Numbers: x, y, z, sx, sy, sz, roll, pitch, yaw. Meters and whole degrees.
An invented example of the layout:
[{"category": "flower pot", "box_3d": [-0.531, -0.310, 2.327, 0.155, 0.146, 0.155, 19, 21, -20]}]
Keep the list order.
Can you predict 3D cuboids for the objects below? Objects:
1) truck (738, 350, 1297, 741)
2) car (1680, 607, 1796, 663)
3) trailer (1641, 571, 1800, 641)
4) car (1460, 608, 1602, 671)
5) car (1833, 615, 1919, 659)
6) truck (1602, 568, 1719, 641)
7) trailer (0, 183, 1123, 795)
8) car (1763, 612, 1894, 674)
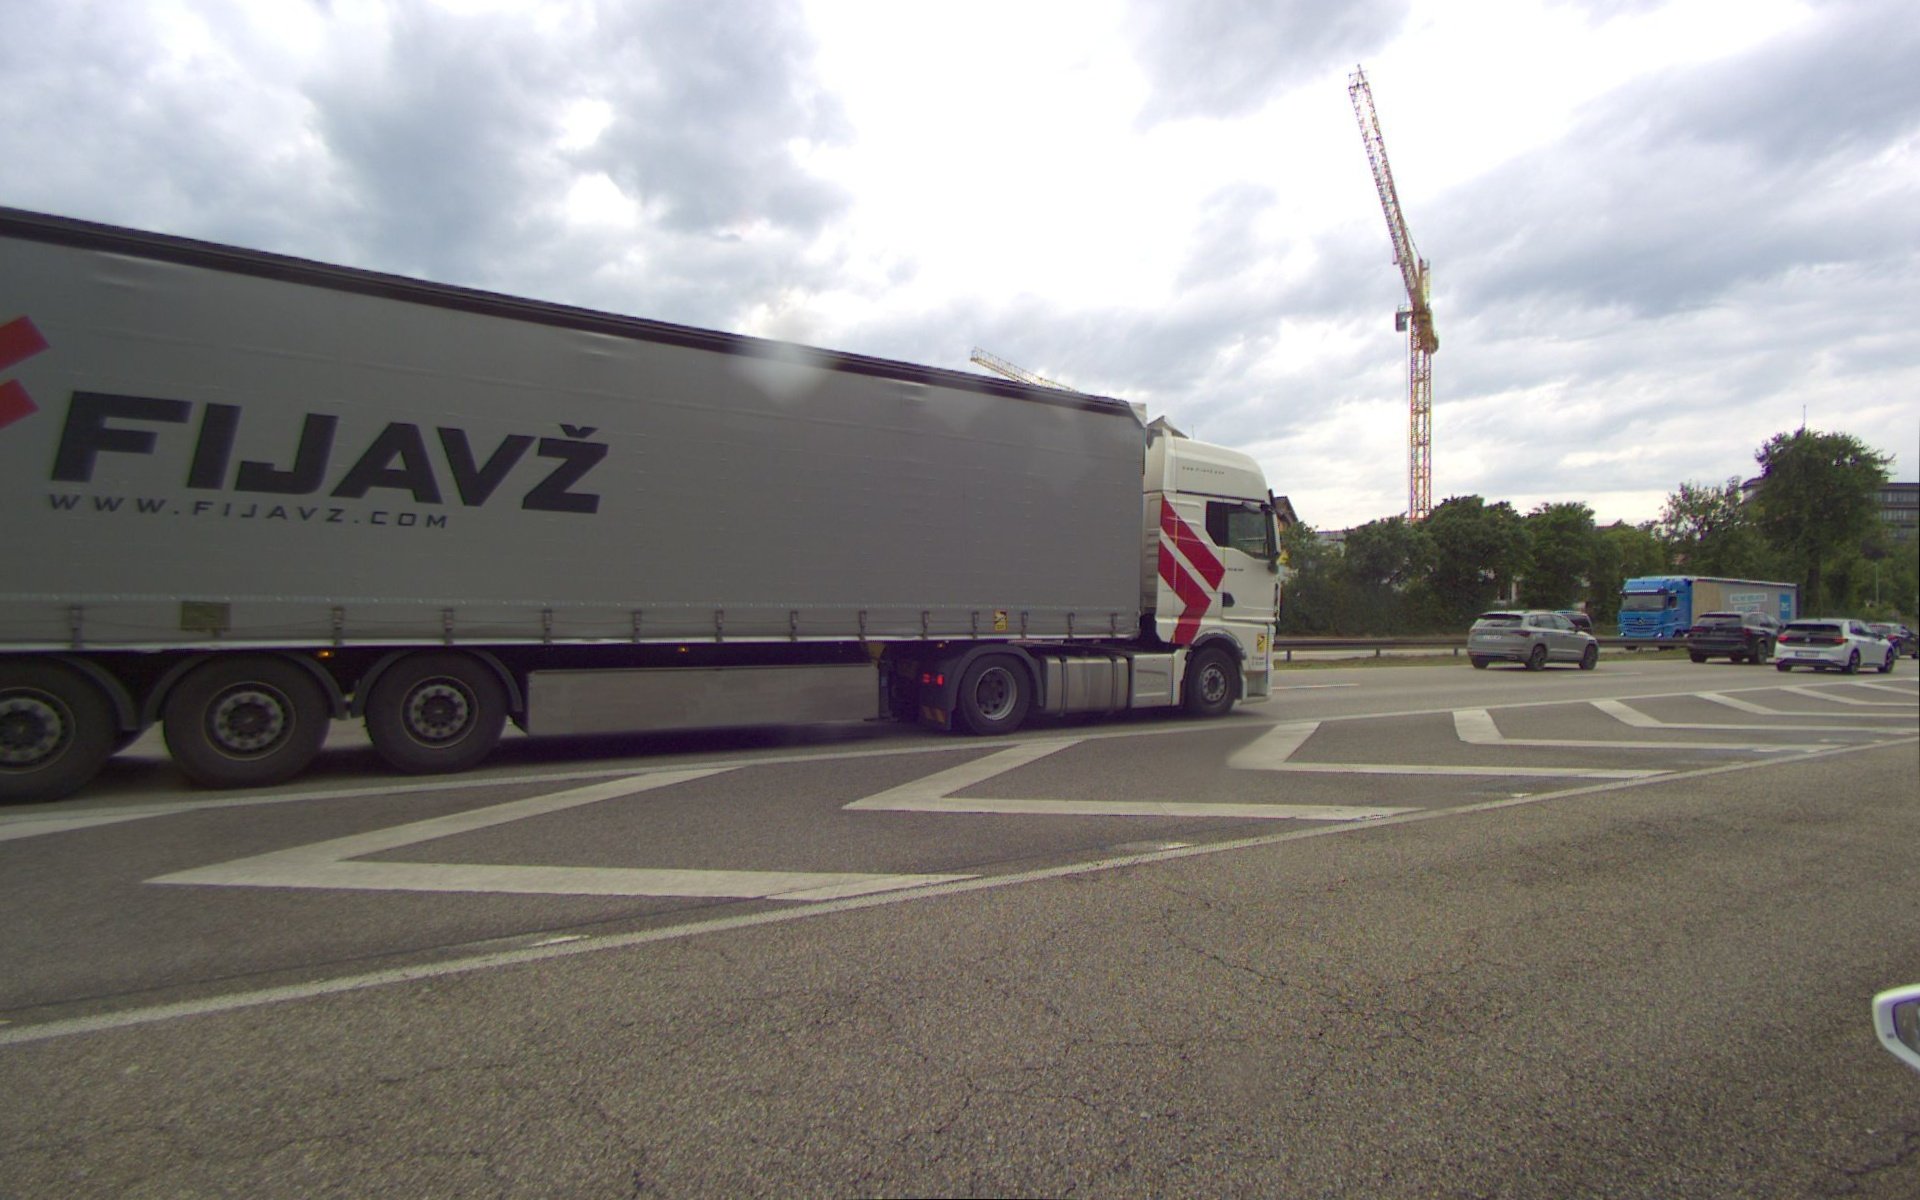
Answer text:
[{"category": "truck", "box_3d": [0.954, -0.488, 13.567, 7.000, 3.999, 3.179, 2, 0, -34]}, {"category": "car", "box_3d": [26.433, 1.180, 34.104, 3.956, 1.739, 1.864, 2, 0, -32]}, {"category": "trailer", "box_3d": [45.079, 0.436, 59.320, 13.104, 3.752, 2.673, 2, 0, -31]}, {"category": "car", "box_3d": [15.790, 1.054, 27.739, 3.882, 1.623, 1.720, 1, 0, -31]}, {"category": "car", "box_3d": [38.675, 1.560, 42.385, 3.957, 1.739, 1.707, 2, 0, -33]}, {"category": "truck", "box_3d": [38.812, 0.284, 55.604, 6.560, 3.759, 2.758, 2, 0, -30]}, {"category": "trailer", "box_3d": [-4.350, -0.663, 10.042, 12.958, 4.090, 3.279, 2, 0, -33]}, {"category": "car", "box_3d": [25.342, 1.240, 29.285, 4.212, 1.625, 1.789, 2, 0, -33]}]
